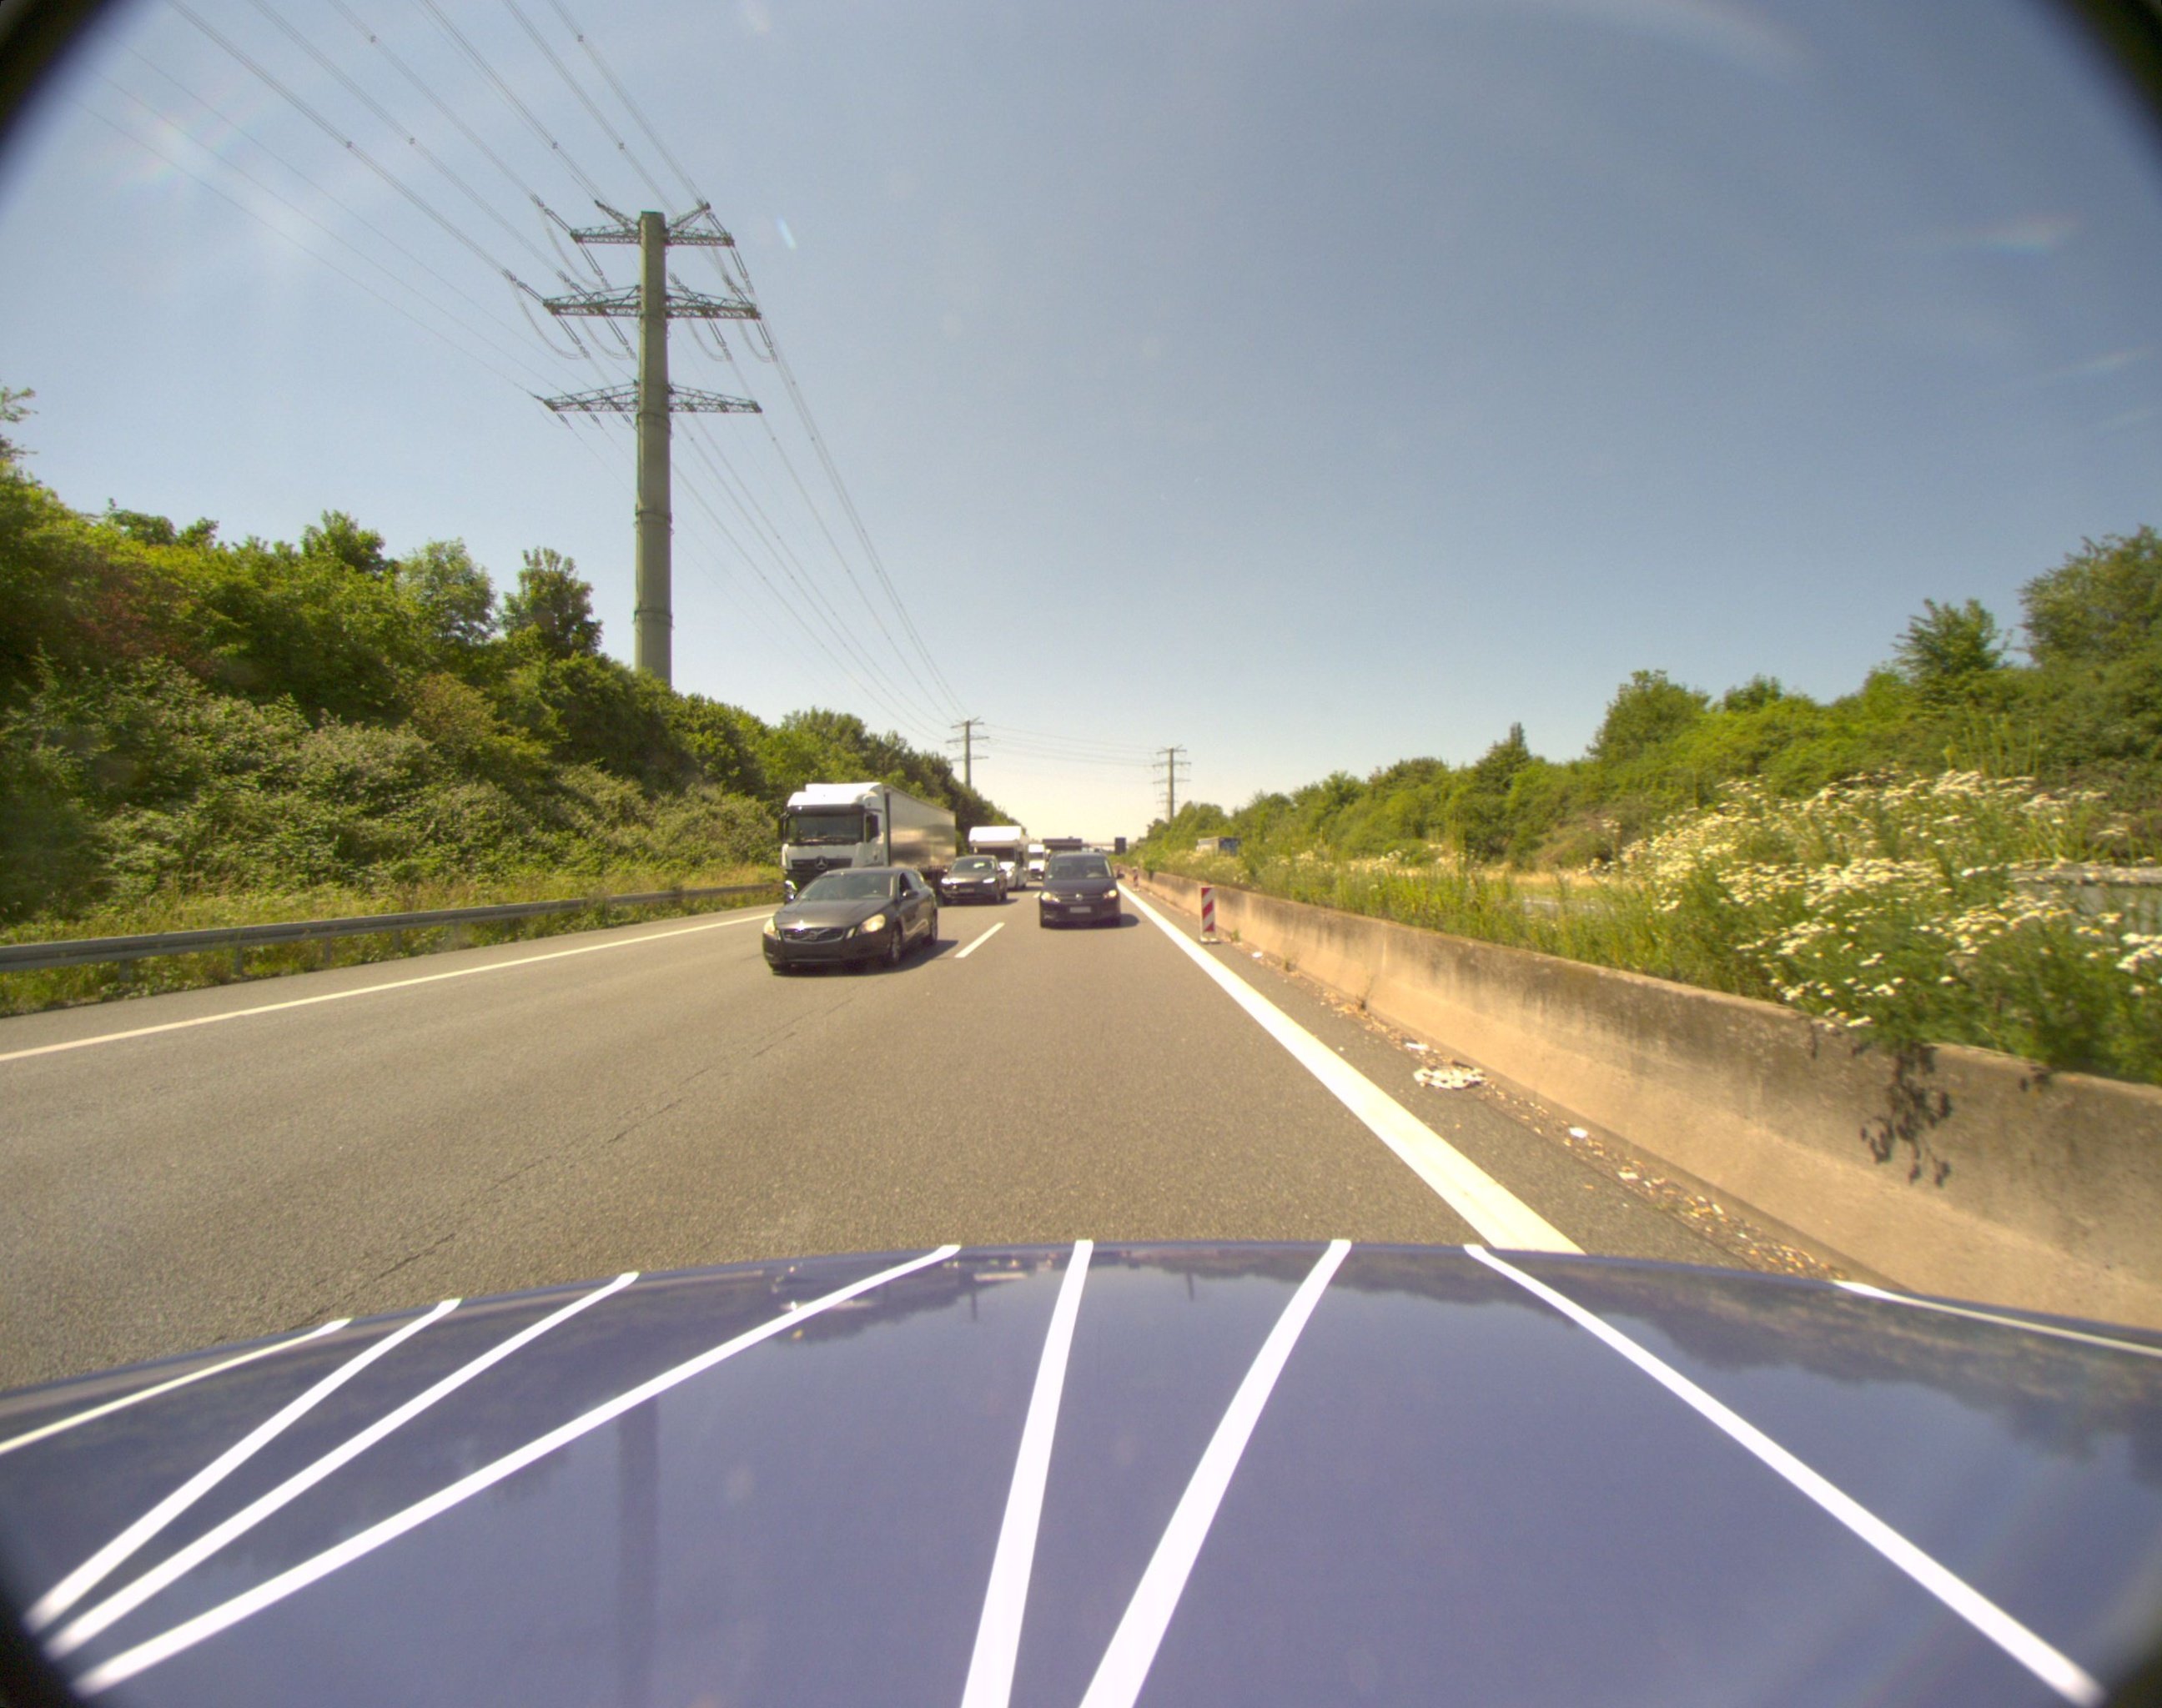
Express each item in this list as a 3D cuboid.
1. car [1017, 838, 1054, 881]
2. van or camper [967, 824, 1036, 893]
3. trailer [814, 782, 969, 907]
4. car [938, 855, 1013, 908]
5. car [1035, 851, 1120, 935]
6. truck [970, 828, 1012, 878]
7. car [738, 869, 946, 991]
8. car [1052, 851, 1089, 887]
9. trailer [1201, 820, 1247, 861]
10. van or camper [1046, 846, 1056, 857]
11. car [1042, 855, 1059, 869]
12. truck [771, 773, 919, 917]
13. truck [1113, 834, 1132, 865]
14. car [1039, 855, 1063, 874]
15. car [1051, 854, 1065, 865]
[{"bbox_3d":[-3.114,0.327,53.415,2.042,2.703,6.705,-2,1,1],"label":"car"},{"bbox_3d":[-3.781,0.169,37.834,2.375,3.026,7.632,-2,1,1],"label":"van or camper"},{"bbox_3d":[-7.238,-0.381,31.693,2.790,4.024,13.110,-2,1,1],"label":"trailer"},{"bbox_3d":[-3.589,0.895,26.566,1.893,1.602,4.220,-2,1,1],"label":"car"},{"bbox_3d":[-0.040,0.805,17.741,1.700,1.641,4.220,-2,1,1],"label":"car"},{"bbox_3d":[-7.831,-0.084,66.890,2.792,4.121,5.636,-2,1,1],"label":"truck"},{"bbox_3d":[-3.539,1.045,12.238,1.799,1.411,4.509,-2,1,1],"label":"car"},{"bbox_3d":[-0.470,0.718,38.405,1.700,1.641,4.220,-2,1,1],"label":"car"},{"bbox_3d":[16.653,-1.511,89.530,2.967,4.378,12.905,-2,1,1],"label":"trailer"},{"bbox_3d":[-6.930,-0.534,175.482,1.978,2.511,4.369,-2,1,1],"label":"van or camper"},{"bbox_3d":[-3.518,0.929,88.259,1.720,1.510,3.874,-2,1,1],"label":"car"},{"bbox_3d":[-7.348,-0.282,24.570,2.740,4.024,5.793,-2,1,1],"label":"truck"},{"bbox_3d":[4.616,-0.544,85.100,1.892,3.263,5.590,-2,1,2],"label":"truck"},{"bbox_3d":[-2.576,0.858,65.877,1.720,1.510,3.874,-2,1,1],"label":"car"},{"bbox_3d":[-3.184,0.742,104.749,1.720,1.510,3.874,-2,1,1],"label":"car"}]
